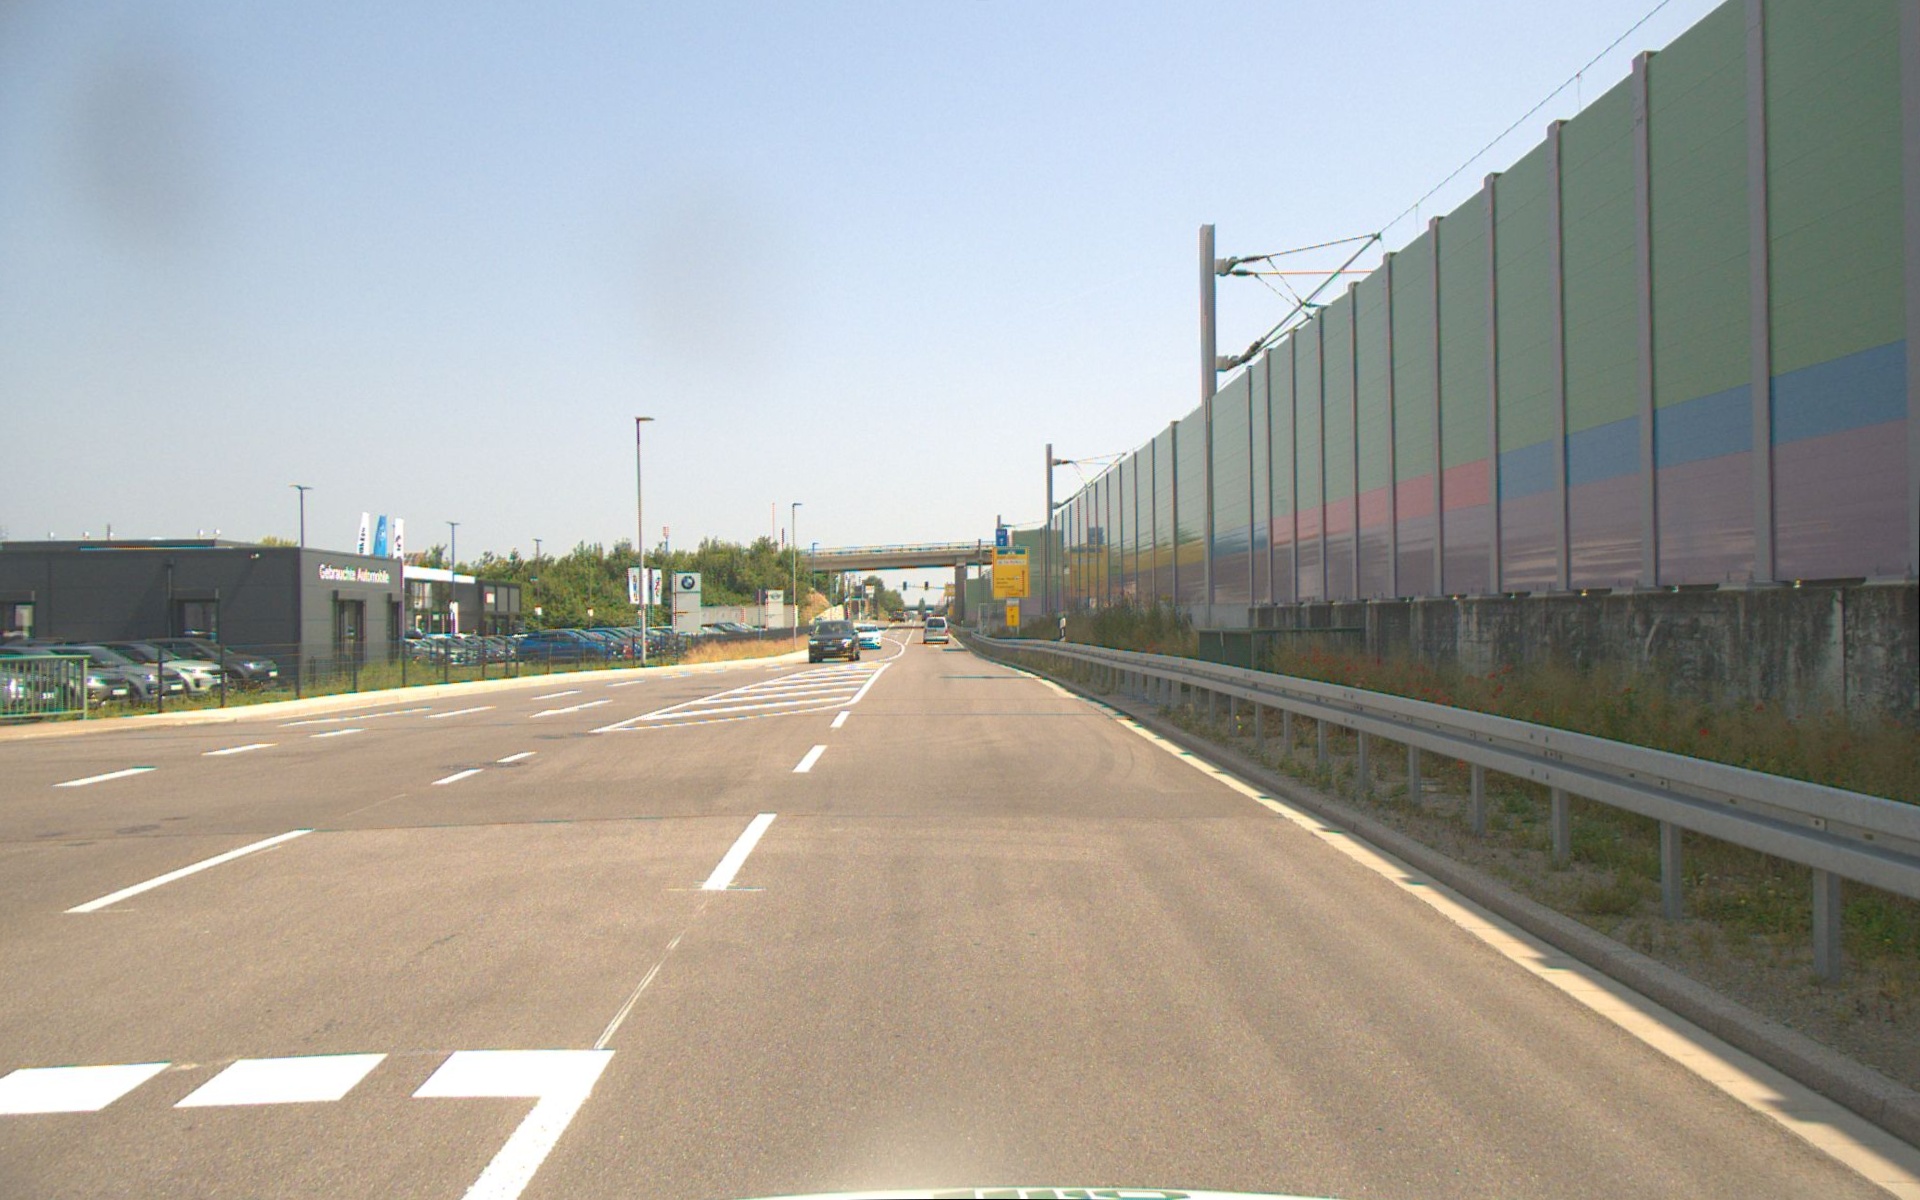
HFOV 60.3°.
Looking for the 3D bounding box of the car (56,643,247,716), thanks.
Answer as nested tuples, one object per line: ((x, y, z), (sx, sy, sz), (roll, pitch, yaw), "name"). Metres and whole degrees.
((-20.868, 2.033, 42.809), (3.906, 1.660, 1.967), (-2, 0, -1), "car")

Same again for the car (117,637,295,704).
((-20.911, 1.949, 45.982), (4.066, 1.660, 1.821), (-2, 0, -4), "car")

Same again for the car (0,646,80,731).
((-20.927, 1.881, 34.670), (3.908, 1.660, 1.885), (-2, 0, -3), "car")

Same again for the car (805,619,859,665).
((-5.086, 1.658, 66.105), (1.839, 1.702, 4.289), (-1, 0, -1), "car")

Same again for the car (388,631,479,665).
((-26.100, 2.355, 82.048), (3.908, 1.521, 1.814), (-2, 0, -3), "car")

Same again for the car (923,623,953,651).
((-1.490, 2.509, 113.507), (1.952, 1.788, 4.000), (-1, 0, 0), "car")

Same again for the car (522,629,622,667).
((-16.943, 2.088, 72.323), (3.908, 1.506, 1.910), (-2, 0, -3), "car")

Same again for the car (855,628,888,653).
((-5.319, 2.455, 99.950), (1.744, 1.440, 4.049), (-2, -1, 0), "car")

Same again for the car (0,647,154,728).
((-20.743, 1.975, 37.496), (3.908, 1.660, 1.976), (-2, 0, -3), "car")

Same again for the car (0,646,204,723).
((-20.796, 2.025, 40.211), (3.908, 1.660, 1.976), (-2, 0, -3), "car")
